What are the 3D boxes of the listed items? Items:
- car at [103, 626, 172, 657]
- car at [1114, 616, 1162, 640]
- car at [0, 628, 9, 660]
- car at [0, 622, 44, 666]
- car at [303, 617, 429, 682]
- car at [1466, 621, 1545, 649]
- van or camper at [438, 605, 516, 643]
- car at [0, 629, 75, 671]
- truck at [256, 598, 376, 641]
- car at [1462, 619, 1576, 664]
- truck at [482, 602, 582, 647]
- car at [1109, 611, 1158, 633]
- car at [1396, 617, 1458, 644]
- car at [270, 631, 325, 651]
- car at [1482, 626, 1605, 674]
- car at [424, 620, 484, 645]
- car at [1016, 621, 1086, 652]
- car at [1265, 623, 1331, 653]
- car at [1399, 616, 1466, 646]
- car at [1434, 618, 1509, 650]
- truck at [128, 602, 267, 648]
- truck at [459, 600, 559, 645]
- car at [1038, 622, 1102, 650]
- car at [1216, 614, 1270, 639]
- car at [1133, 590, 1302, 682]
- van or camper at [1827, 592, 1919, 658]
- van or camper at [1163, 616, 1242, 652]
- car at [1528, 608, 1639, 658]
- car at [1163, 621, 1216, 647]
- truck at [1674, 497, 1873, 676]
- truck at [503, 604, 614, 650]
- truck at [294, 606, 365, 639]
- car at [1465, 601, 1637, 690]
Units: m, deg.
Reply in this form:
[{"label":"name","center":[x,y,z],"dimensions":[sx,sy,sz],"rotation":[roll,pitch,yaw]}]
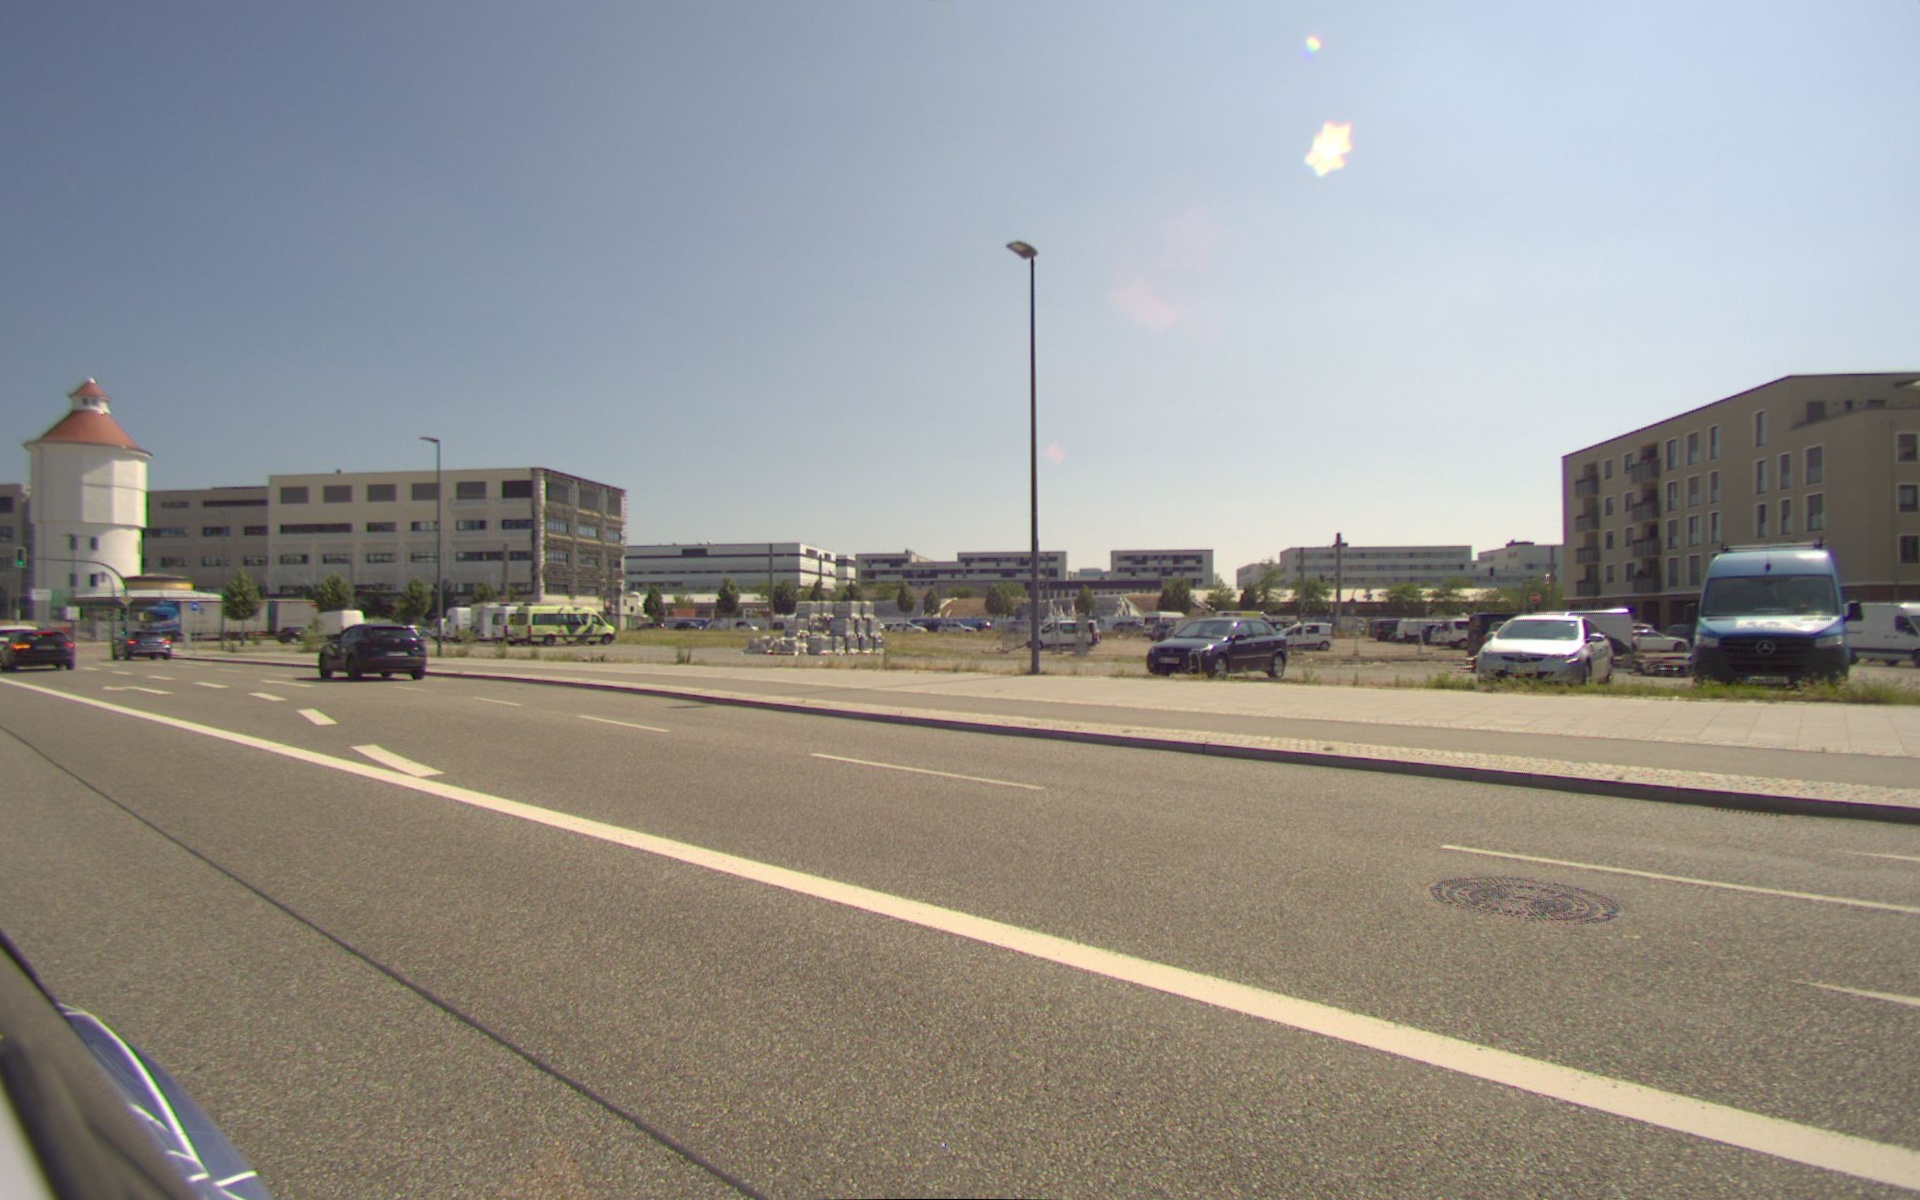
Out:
[{"label":"car","center":[-41.092,2.044,50.527],"dimensions":[4.384,1.507,1.883],"rotation":[-1,-2,41]},{"label":"car","center":[15.411,2.466,87.879],"dimensions":[3.953,2.029,1.995],"rotation":[-1,-2,8]},{"label":"car","center":[-45.567,2.112,46.908],"dimensions":[4.280,1.432,1.767],"rotation":[-3,-1,41]},{"label":"car","center":[-38.345,1.739,40.549],"dimensions":[4.729,1.662,1.893],"rotation":[-2,-2,42]},{"label":"car","center":[-16.439,1.316,27.913],"dimensions":[4.388,1.640,1.881],"rotation":[-2,-2,44]},{"label":"car","center":[34.659,2.225,64.445],"dimensions":[3.959,1.800,1.992],"rotation":[-1,-2,12]},{"label":"van or camper","center":[-36.288,1.795,76.120],"dimensions":[2.258,2.682,4.849],"rotation":[-2,-1,41]},{"label":"car","center":[-33.046,1.729,36.085],"dimensions":[4.571,1.409,1.768],"rotation":[-2,-2,43]},{"label":"truck","center":[-70.538,2.062,111.264],"dimensions":[3.331,4.307,10.840],"rotation":[0,1,29]},{"label":"car","center":[24.807,1.824,45.042],"dimensions":[3.959,1.863,1.992],"rotation":[-1,-1,12]},{"label":"truck","center":[-29.521,1.642,69.944],"dimensions":[2.569,2.845,5.776],"rotation":[0,1,40]},{"label":"car","center":[16.051,2.073,93.682],"dimensions":[4.430,1.985,1.834],"rotation":[0,-2,9]},{"label":"car","center":[36.111,2.373,78.404],"dimensions":[3.959,2.029,1.992],"rotation":[0,-3,12]},{"label":"car","center":[-61.666,3.808,94.253],"dimensions":[1.872,1.652,3.962],"rotation":[-1,-1,28]},{"label":"car","center":[24.261,2.073,42.242],"dimensions":[3.959,1.863,1.992],"rotation":[-1,-1,12]},{"label":"car","center":[-39.031,2.473,78.143],"dimensions":[1.655,1.771,3.830],"rotation":[-2,-1,37]},{"label":"car","center":[6.142,2.451,68.012],"dimensions":[4.601,2.029,1.994],"rotation":[0,-2,9]},{"label":"car","center":[22.141,2.465,66.393],"dimensions":[3.962,1.896,1.990],"rotation":[-1,-2,15]},{"label":"car","center":[34.368,2.268,73.698],"dimensions":[3.959,2.029,1.992],"rotation":[-1,-1,12]},{"label":"car","center":[33.847,2.241,67.028],"dimensions":[3.959,2.029,1.992],"rotation":[-1,-1,12]},{"label":"truck","center":[-75.774,2.352,100.919],"dimensions":[3.281,4.098,10.895],"rotation":[0,1,23]},{"label":"truck","center":[-32.766,1.569,73.707],"dimensions":[2.570,2.923,6.080],"rotation":[0,1,42]},{"label":"car","center":[8.057,2.606,73.799],"dimensions":[4.601,1.985,1.994],"rotation":[0,-2,9]},{"label":"car","center":[23.450,2.173,84.003],"dimensions":[3.952,2.029,1.996],"rotation":[-1,-2,7]},{"label":"car","center":[5.908,0.793,22.989],"dimensions":[3.938,1.918,1.830],"rotation":[1,-2,-42]},{"label":"van or camper","center":[38.591,1.021,40.917],"dimensions":[1.909,2.578,5.928],"rotation":[0,-2,0]},{"label":"van or camper","center":[15.910,2.216,66.565],"dimensions":[4.880,2.301,1.994],"rotation":[0,-2,9]},{"label":"car","center":[29.742,1.562,48.395],"dimensions":[3.951,2.258,1.996],"rotation":[-1,-1,6]},{"label":"car","center":[18.320,2.728,80.865],"dimensions":[3.953,2.029,1.995],"rotation":[0,-2,8]},{"label":"truck","center":[13.986,-0.117,17.514],"dimensions":[2.272,2.563,5.945],"rotation":[-1,-2,39]},{"label":"truck","center":[-27.008,1.764,68.279],"dimensions":[2.599,2.847,6.572],"rotation":[-2,-1,38]},{"label":"truck","center":[-51.654,1.846,82.870],"dimensions":[5.914,2.675,2.154],"rotation":[-1,-1,26]},{"label":"car","center":[11.666,0.832,19.750],"dimensions":[2.105,1.485,5.595],"rotation":[-1,-2,39]}]
